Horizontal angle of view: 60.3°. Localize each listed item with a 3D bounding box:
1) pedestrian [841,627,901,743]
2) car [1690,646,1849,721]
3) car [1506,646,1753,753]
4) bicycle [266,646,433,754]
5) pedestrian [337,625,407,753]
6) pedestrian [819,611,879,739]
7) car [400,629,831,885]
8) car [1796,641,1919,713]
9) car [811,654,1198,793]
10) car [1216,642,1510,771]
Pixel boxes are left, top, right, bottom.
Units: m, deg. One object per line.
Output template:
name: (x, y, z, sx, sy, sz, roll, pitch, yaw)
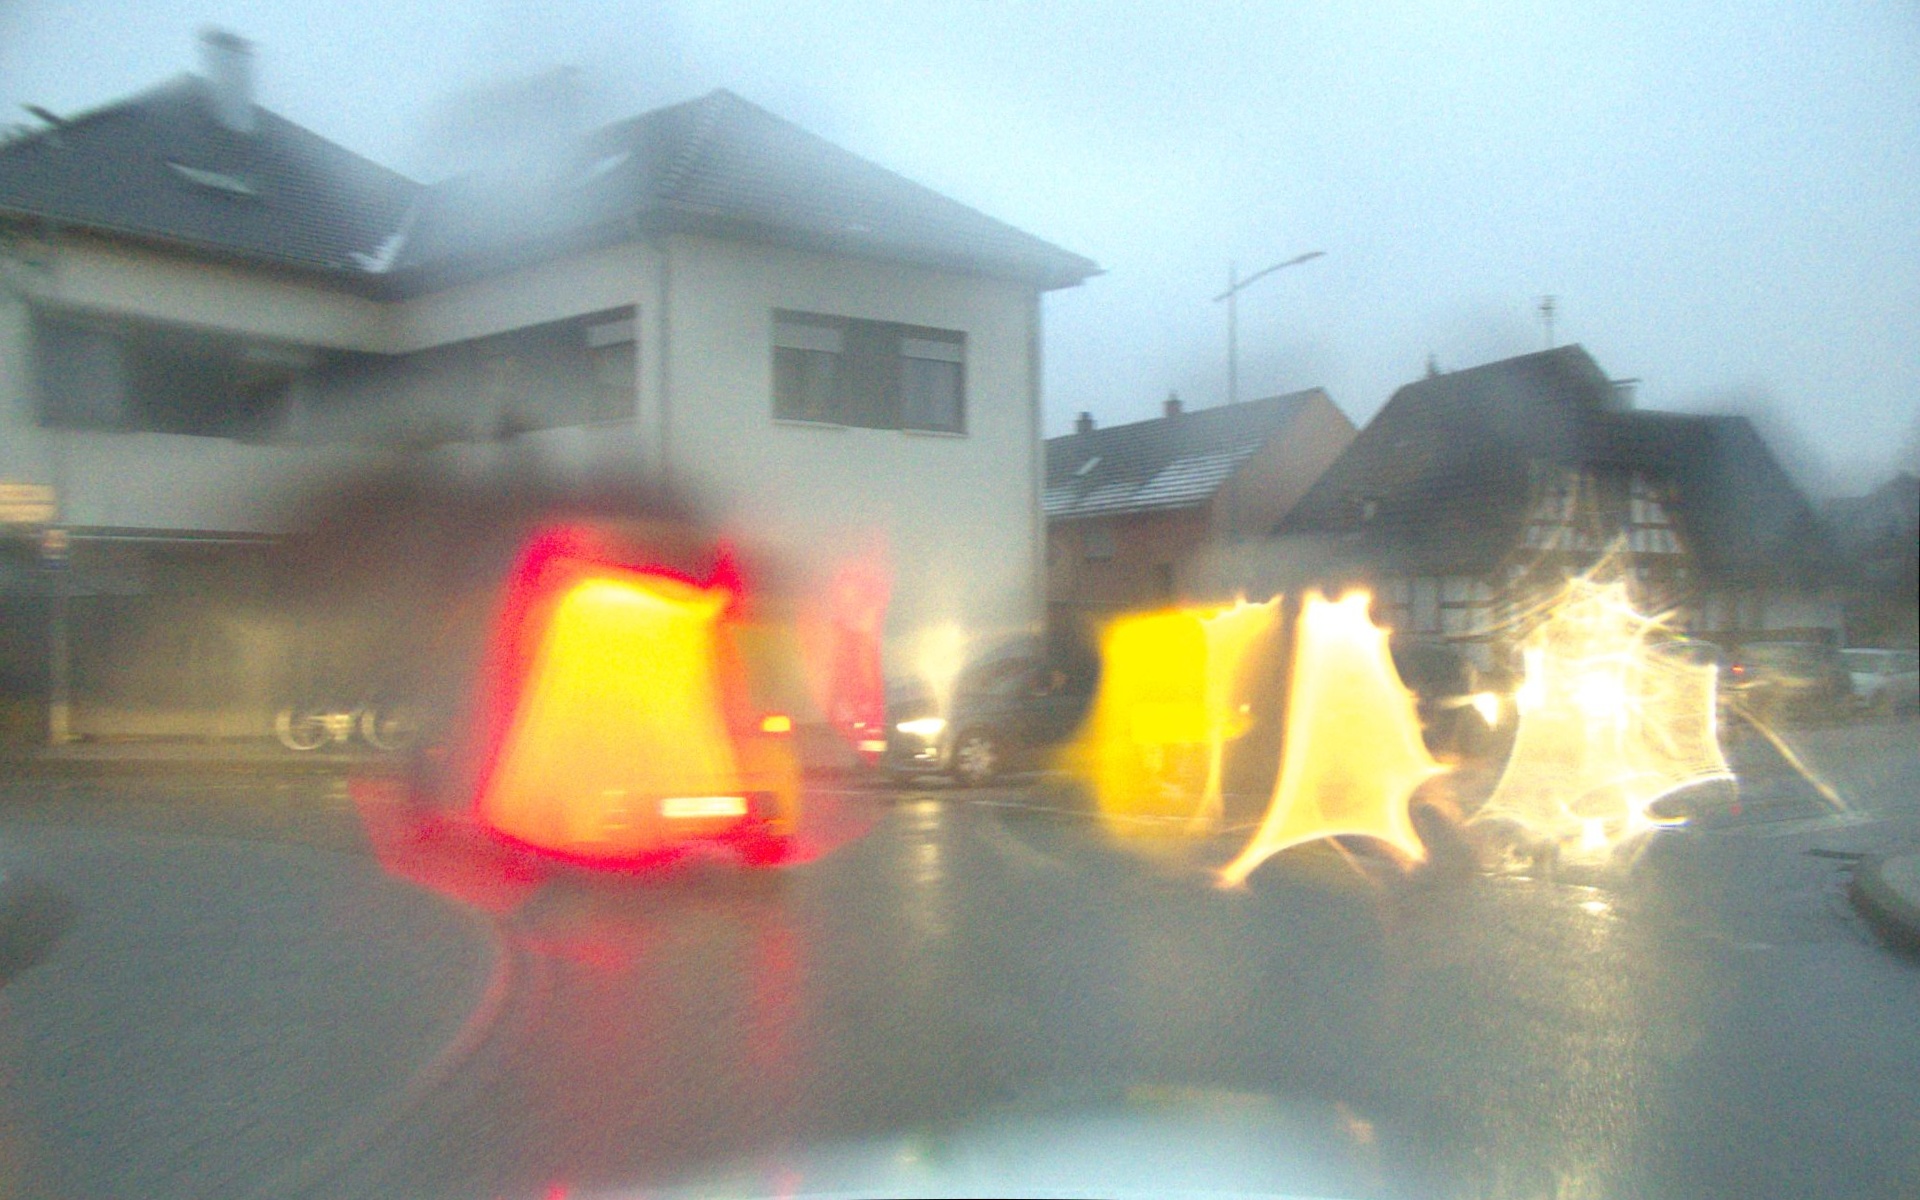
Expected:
pedestrian: (-1.290, 1.226, 24.041, 0.706, 1.650, 0.578, 1, -1, -25)
car: (17.430, 1.748, 35.565, 3.672, 1.491, 1.704, 1, -1, -39)
car: (10.580, 1.514, 26.027, 4.212, 1.535, 1.674, 1, -2, -37)
bicycle: (-7.683, 1.253, 20.860, 1.896, 1.318, 0.551, 0, 1, 0)
pedestrian: (-7.504, 1.124, 21.124, 0.675, 1.592, 0.610, 0, 0, -1)
pedestrian: (-1.668, 1.108, 24.770, 0.706, 1.864, 0.632, 1, 0, -25)
car: (-2.554, 1.007, 11.516, 1.693, 1.447, 3.968, 2, -4, -32)
car: (21.335, 1.763, 38.885, 3.680, 1.577, 1.650, 1, -1, -39)
car: (0.559, 1.347, 18.823, 4.188, 1.408, 1.827, 1, -4, -37)
car: (5.424, 1.356, 22.077, 3.955, 1.579, 1.675, 1, -2, -36)
